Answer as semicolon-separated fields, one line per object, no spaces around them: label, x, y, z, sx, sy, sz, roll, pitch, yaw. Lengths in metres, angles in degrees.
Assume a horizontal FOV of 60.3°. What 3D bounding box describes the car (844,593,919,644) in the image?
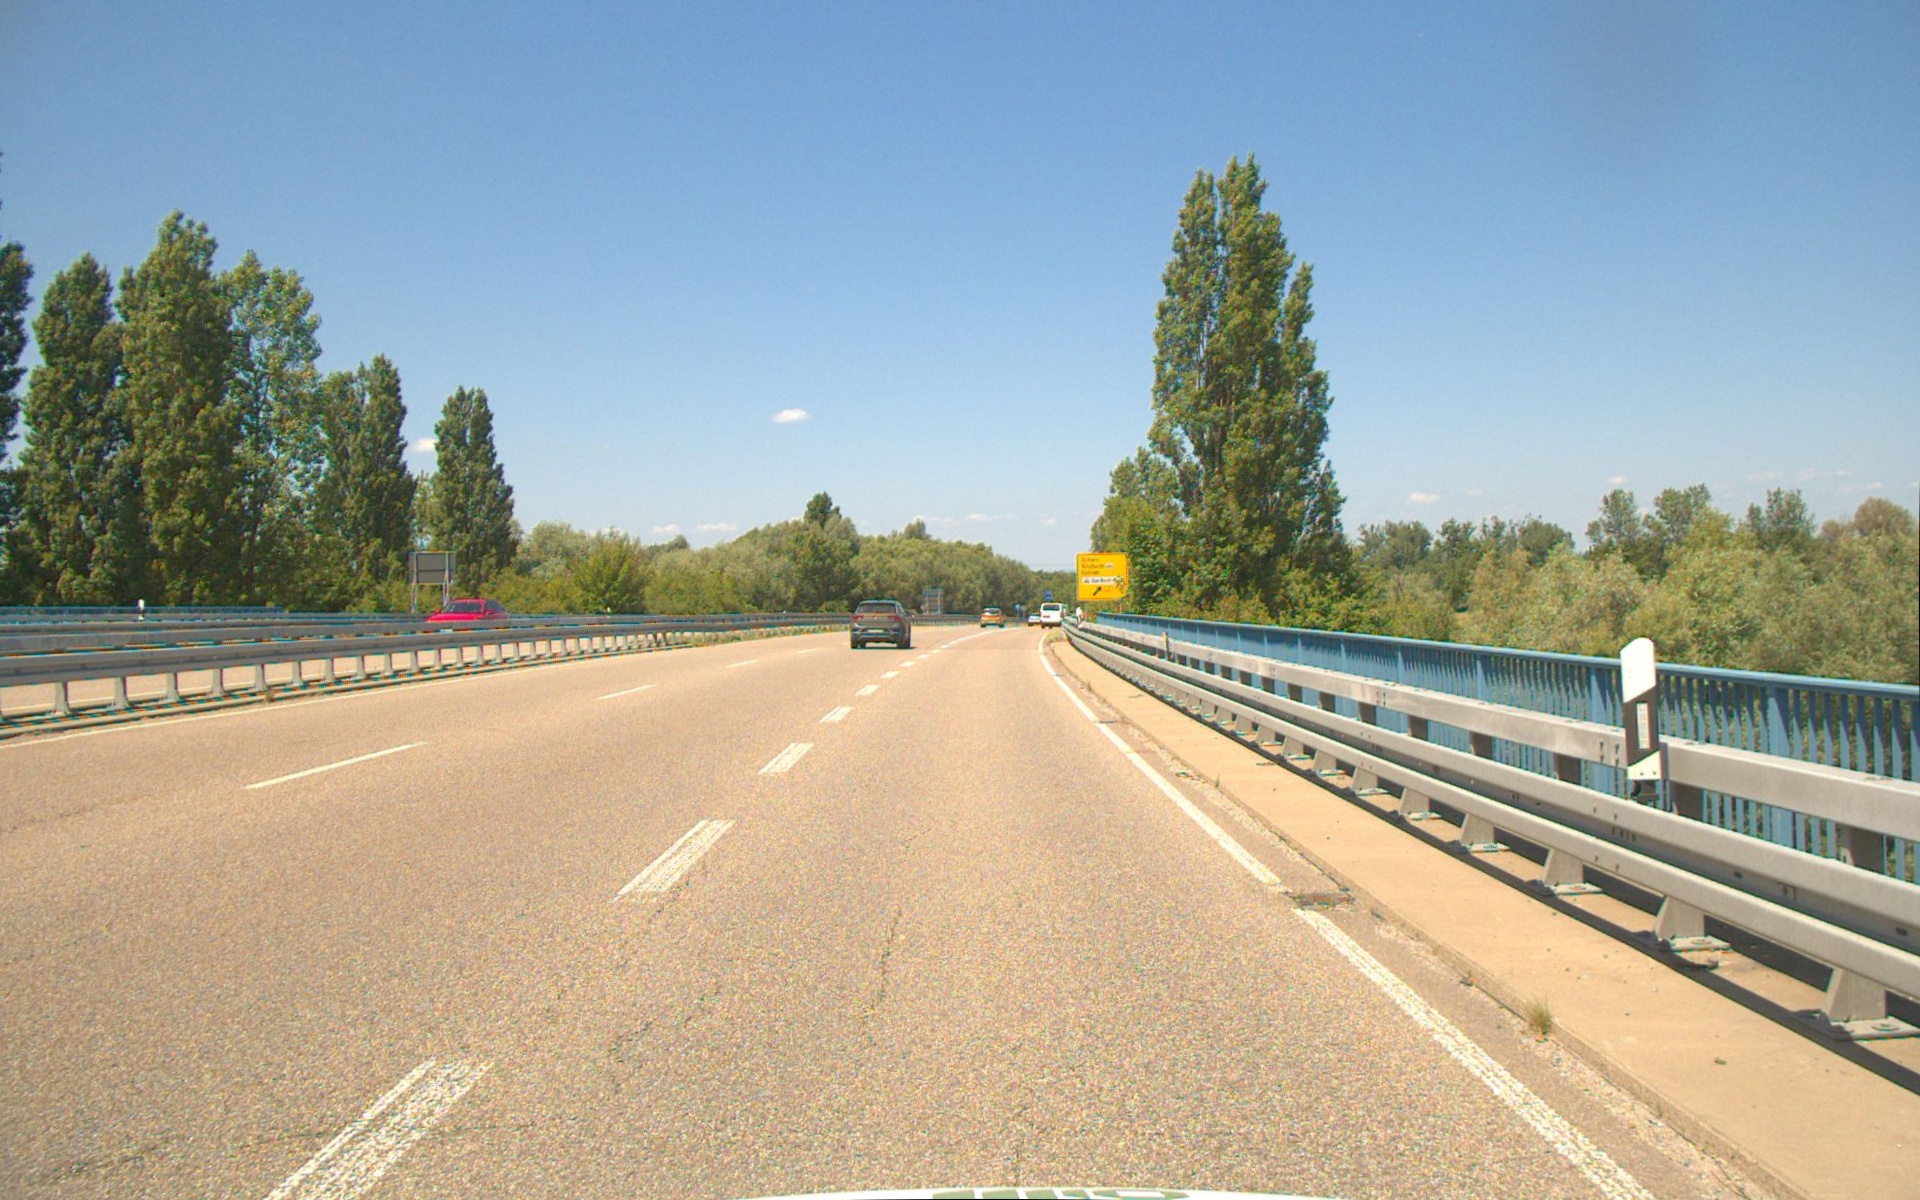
car;-2.561;0.584;54.956;1.802;1.556;4.473;1;0;6

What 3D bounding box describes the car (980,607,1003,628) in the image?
car;2.476;1.372;130.045;1.803;1.489;4.001;1;0;1

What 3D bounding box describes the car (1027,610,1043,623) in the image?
car;9.197;1.961;202.415;1.803;1.476;4.000;1;0;0

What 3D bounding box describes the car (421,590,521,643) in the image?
car;-16.294;0.551;55.369;1.805;1.697;5.050;0;-1;0

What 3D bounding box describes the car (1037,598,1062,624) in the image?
car;6.972;0.865;128.965;1.803;1.928;4.001;1;0;2
